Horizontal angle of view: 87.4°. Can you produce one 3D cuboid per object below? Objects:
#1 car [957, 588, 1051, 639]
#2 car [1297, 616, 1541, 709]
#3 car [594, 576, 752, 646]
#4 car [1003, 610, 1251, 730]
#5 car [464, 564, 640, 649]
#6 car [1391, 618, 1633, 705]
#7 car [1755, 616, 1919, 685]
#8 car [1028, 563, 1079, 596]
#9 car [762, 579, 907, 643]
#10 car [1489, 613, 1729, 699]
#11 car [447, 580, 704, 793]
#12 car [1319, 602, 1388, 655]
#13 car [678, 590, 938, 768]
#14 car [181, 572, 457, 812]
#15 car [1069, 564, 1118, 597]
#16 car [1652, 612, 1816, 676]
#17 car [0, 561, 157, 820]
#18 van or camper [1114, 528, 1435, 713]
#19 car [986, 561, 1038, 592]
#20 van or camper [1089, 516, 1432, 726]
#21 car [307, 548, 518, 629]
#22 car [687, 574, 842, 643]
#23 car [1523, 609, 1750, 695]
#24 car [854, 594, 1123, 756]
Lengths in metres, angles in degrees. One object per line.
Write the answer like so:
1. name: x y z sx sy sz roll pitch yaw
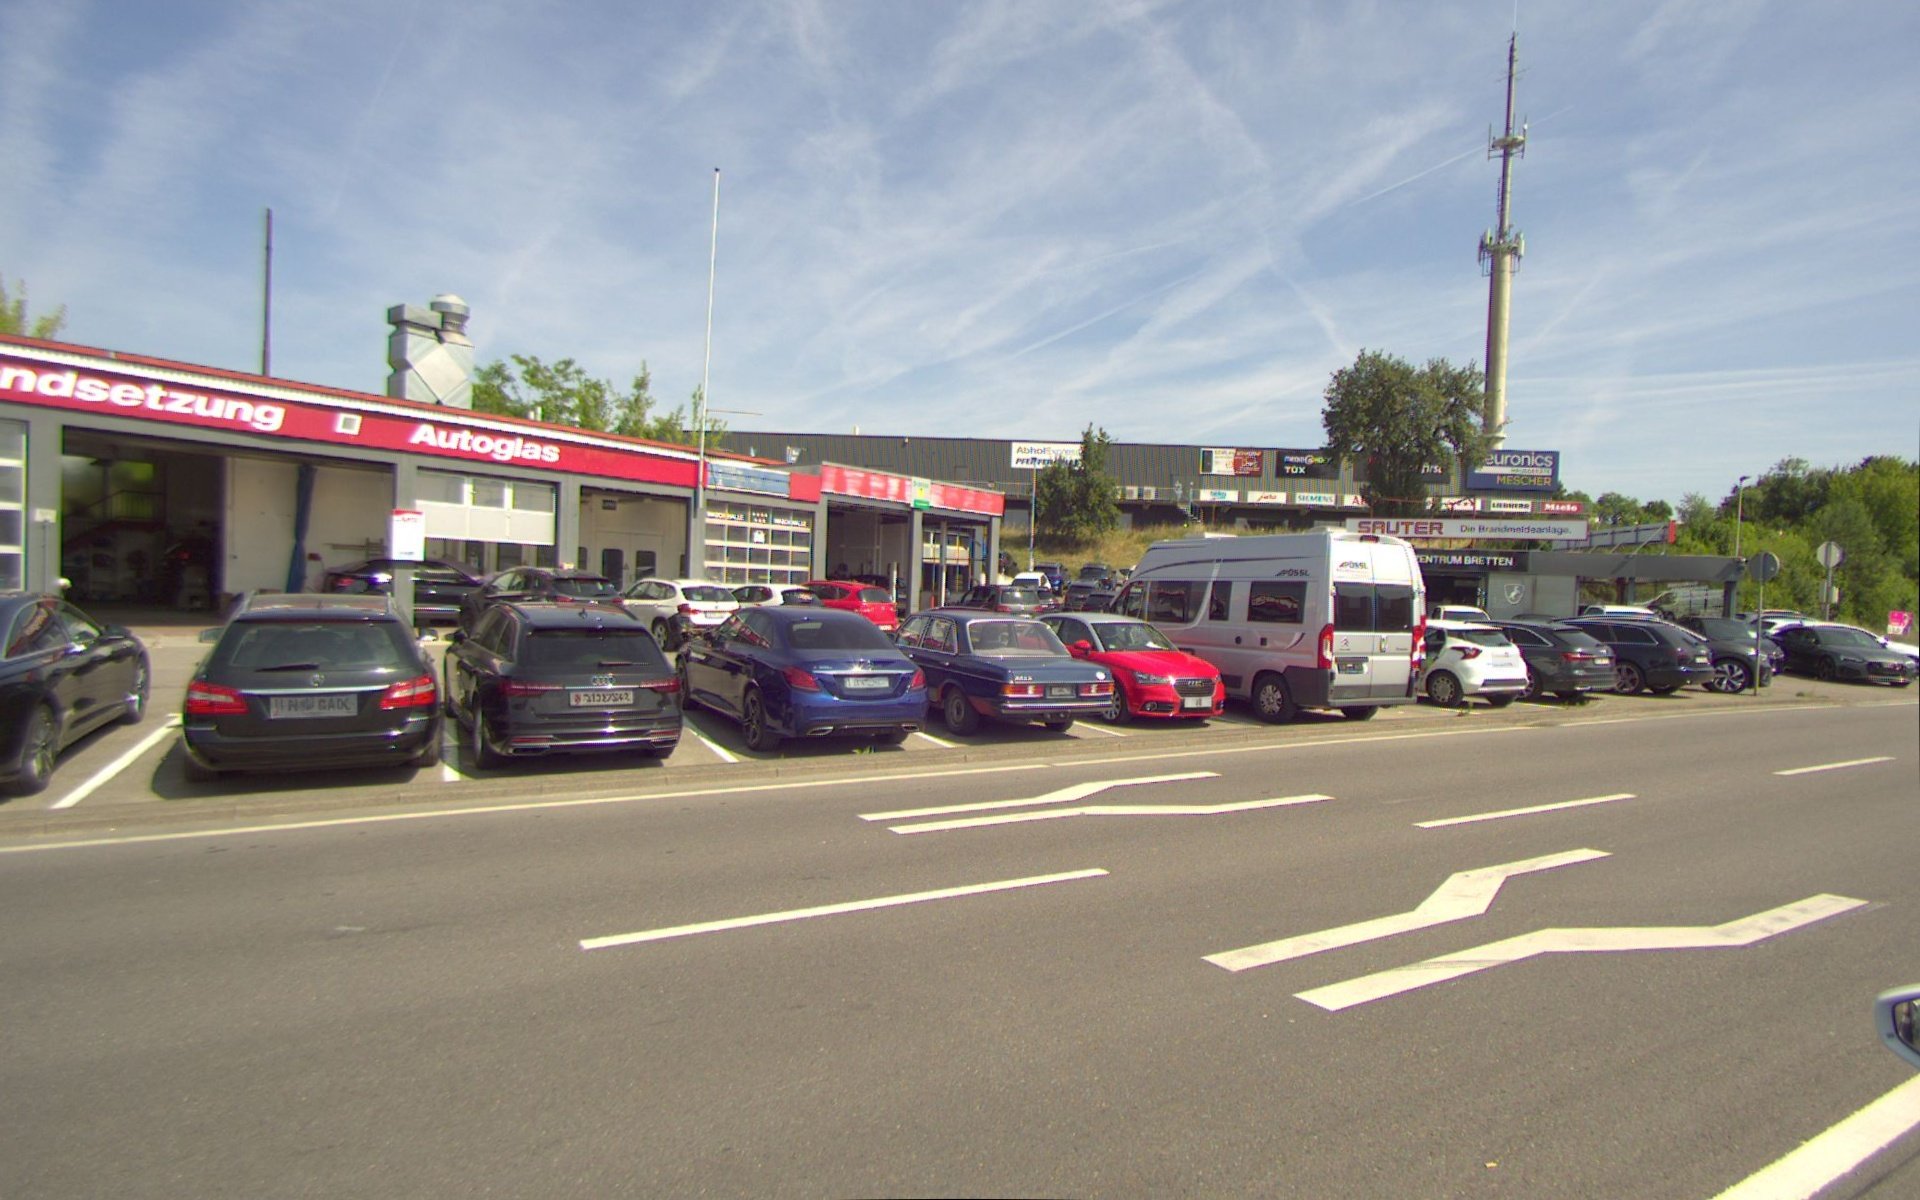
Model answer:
1. car: 1.421 0.442 33.952 1.743 1.609 3.809 1 0 -22
2. car: 8.435 1.081 18.752 1.821 1.467 3.798 1 -1 -30
3. car: -6.605 0.233 22.923 3.774 1.451 1.759 1 -1 42
4. car: 2.316 0.925 14.769 1.790 1.500 3.579 1 -1 -29
5. car: -8.325 0.124 20.362 3.893 1.553 1.760 1 -1 42
6. car: 10.728 1.131 19.789 1.821 1.467 3.798 1 -1 -30
7. car: 24.625 1.336 28.145 2.089 1.715 4.530 1 -1 16
8. car: 4.837 -1.024 51.490 1.702 1.470 3.749 2 0 19
9. car: -3.456 0.278 27.351 3.768 1.609 1.762 1 -1 38
10. car: 13.367 1.090 20.912 1.821 1.560 3.798 1 -1 -30
11. car: -4.070 0.687 10.218 1.781 1.505 3.823 1 4 -31
12. car: 12.870 0.904 32.751 1.736 1.609 3.825 1 -1 27
13. car: -1.895 0.728 11.520 1.688 1.577 3.688 0 2 -31
14. car: -5.956 0.629 9.550 1.752 1.505 4.435 1 4 -31
15. car: 6.757 -0.970 50.638 1.702 1.470 3.749 2 0 19
16. car: 22.562 1.238 29.482 1.806 1.716 3.829 1 0 -1
17. car: -8.096 0.538 8.132 1.777 1.505 4.278 2 4 -29
18. van or camper: 5.613 0.302 18.983 2.261 2.912 5.867 1 1 -28
19. car: 2.746 -1.196 52.273 1.702 1.470 3.749 2 0 19
20. van or camper: 4.505 0.263 16.064 2.183 2.768 5.223 1 0 -28
21. car: -12.692 -0.212 23.403 3.985 1.694 1.888 2 -1 -42
22. car: -4.957 0.192 25.272 3.768 1.609 1.762 1 -1 38
23. car: 14.934 1.087 22.375 1.821 1.697 3.798 1 -1 -30
24. car: 0.211 0.827 12.954 1.688 1.505 3.688 1 4 -31
